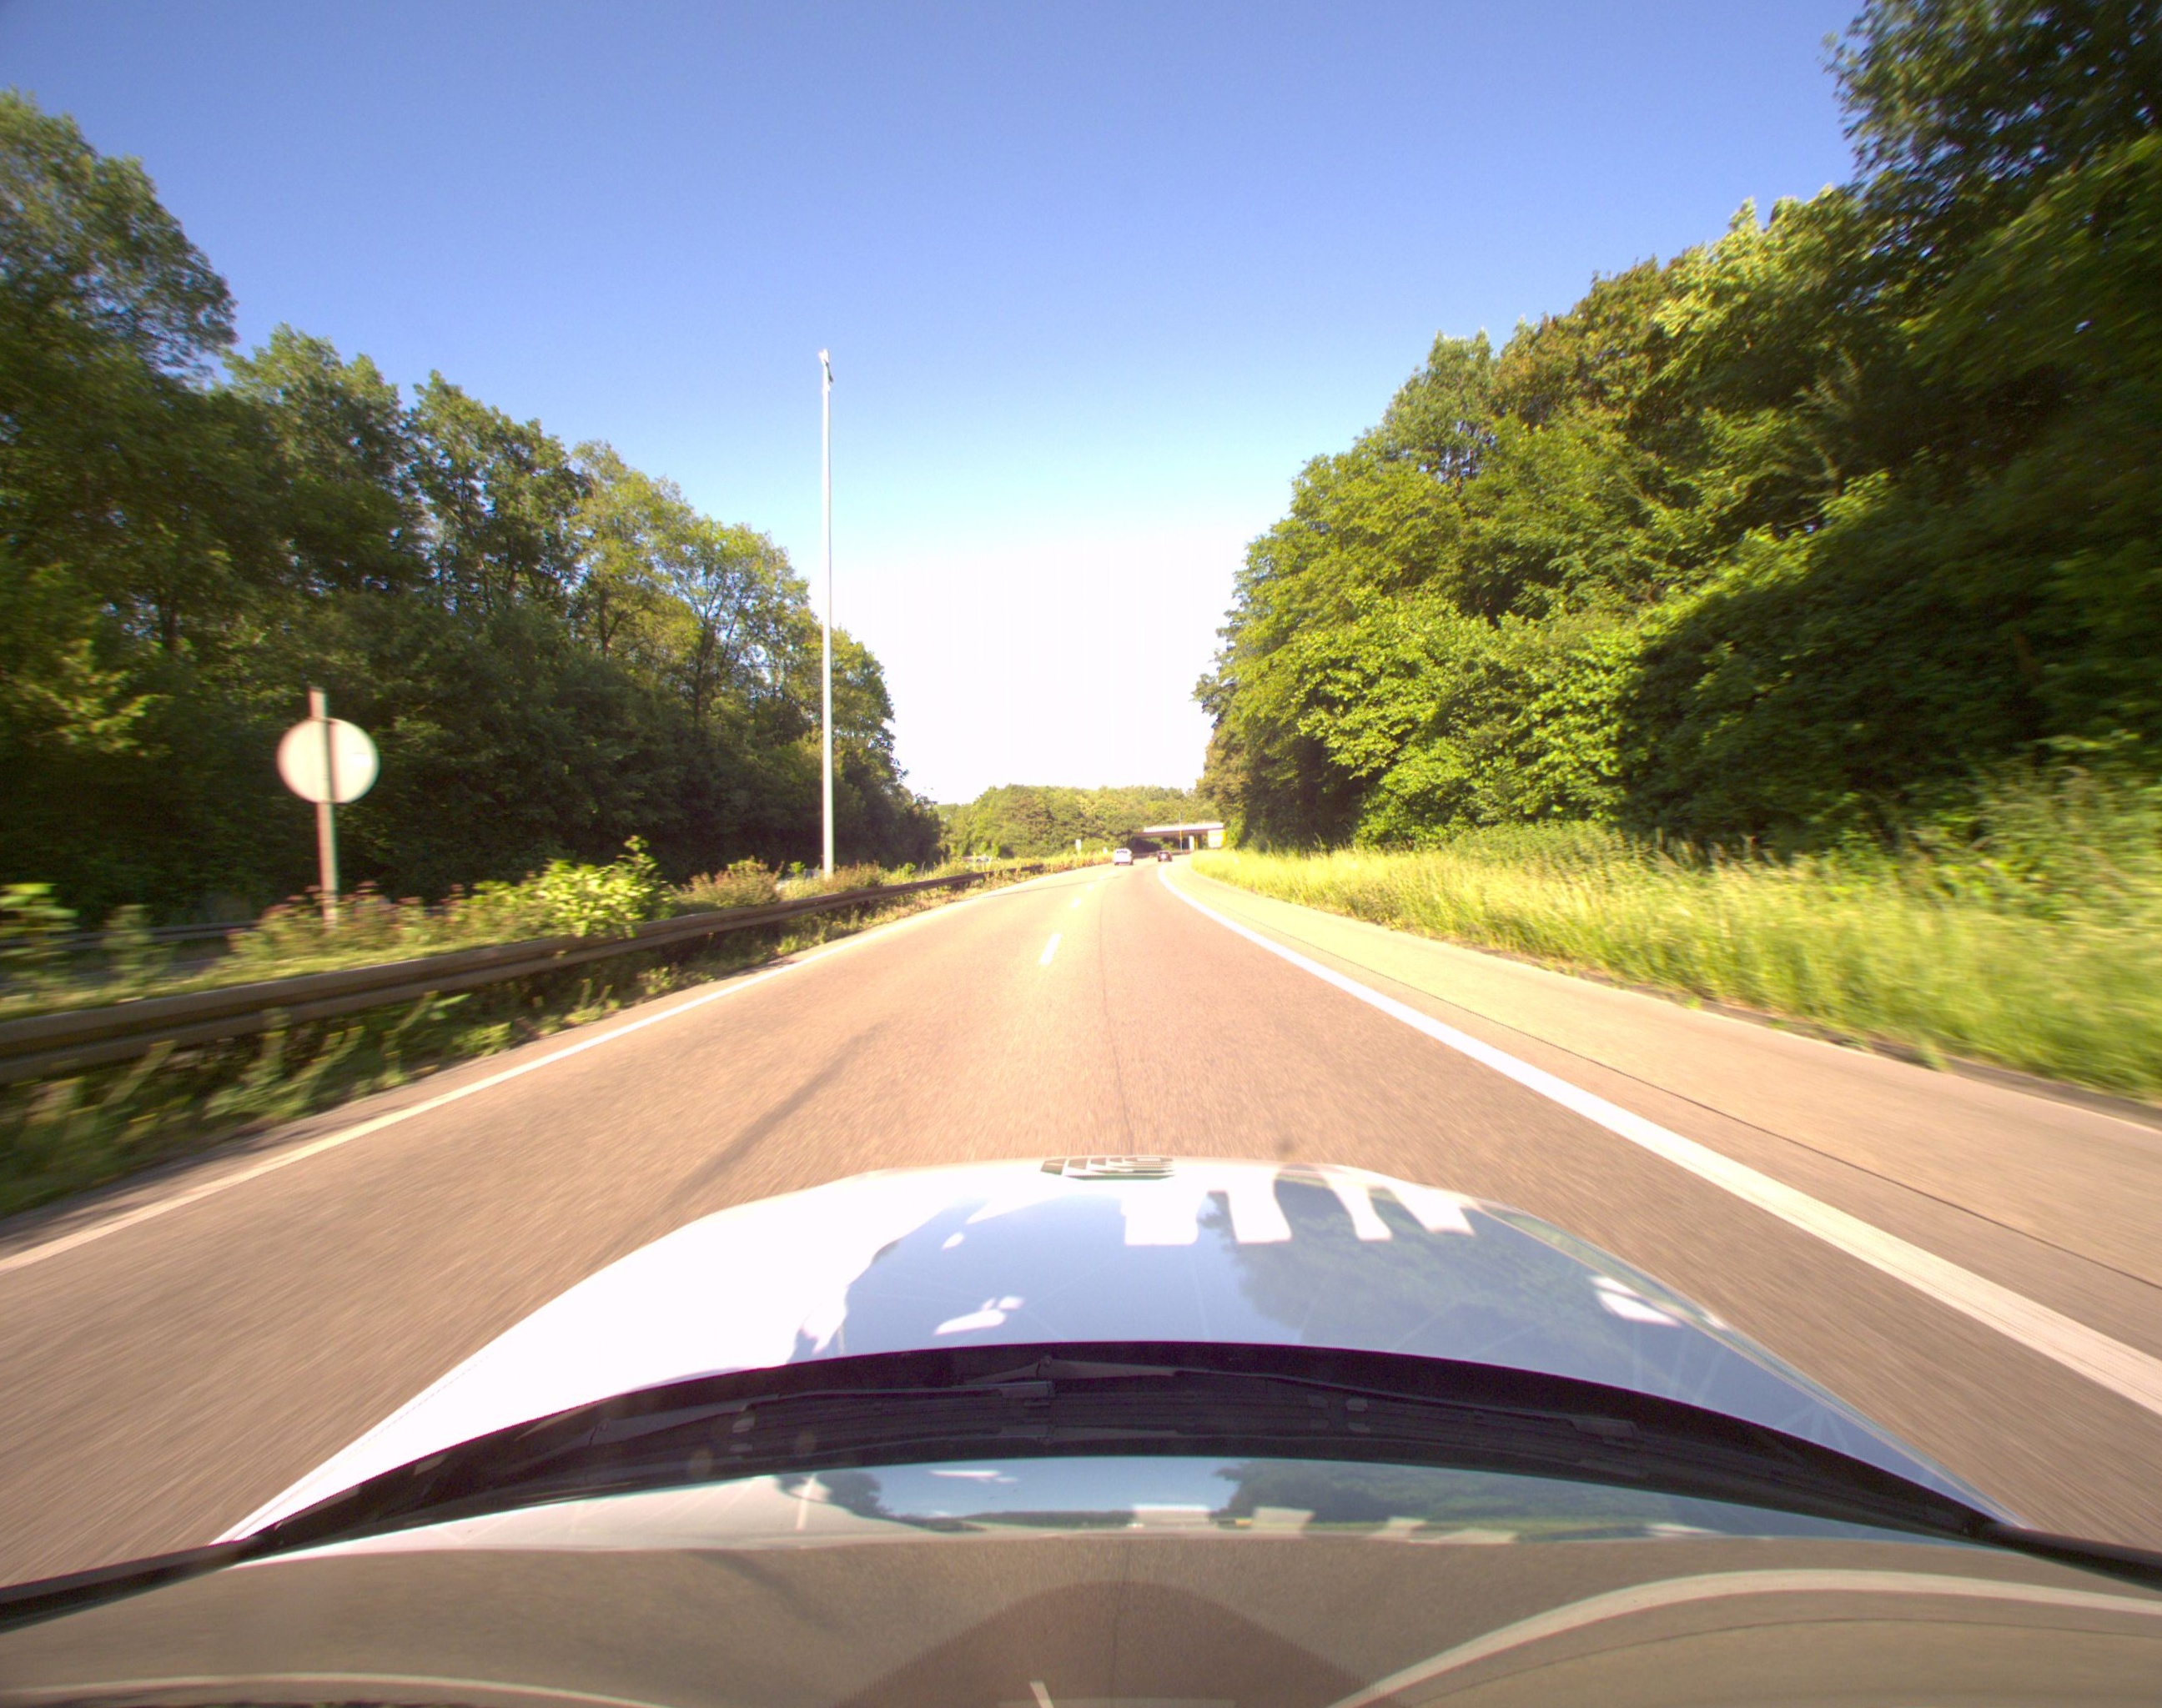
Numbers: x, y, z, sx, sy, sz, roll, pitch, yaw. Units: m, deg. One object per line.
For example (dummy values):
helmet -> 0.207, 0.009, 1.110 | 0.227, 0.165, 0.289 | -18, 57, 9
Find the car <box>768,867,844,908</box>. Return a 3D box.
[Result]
car -> -13.163, 1.566, 39.282 | 1.985, 1.785, 4.299 | -1, 0, 3

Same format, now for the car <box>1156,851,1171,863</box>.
car -> 11.379, 0.409, 112.227 | 1.729, 1.662, 3.955 | -2, 0, 8

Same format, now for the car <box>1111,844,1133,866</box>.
car -> 4.589, 0.091, 89.806 | 1.982, 2.277, 4.009 | -2, 0, 8
